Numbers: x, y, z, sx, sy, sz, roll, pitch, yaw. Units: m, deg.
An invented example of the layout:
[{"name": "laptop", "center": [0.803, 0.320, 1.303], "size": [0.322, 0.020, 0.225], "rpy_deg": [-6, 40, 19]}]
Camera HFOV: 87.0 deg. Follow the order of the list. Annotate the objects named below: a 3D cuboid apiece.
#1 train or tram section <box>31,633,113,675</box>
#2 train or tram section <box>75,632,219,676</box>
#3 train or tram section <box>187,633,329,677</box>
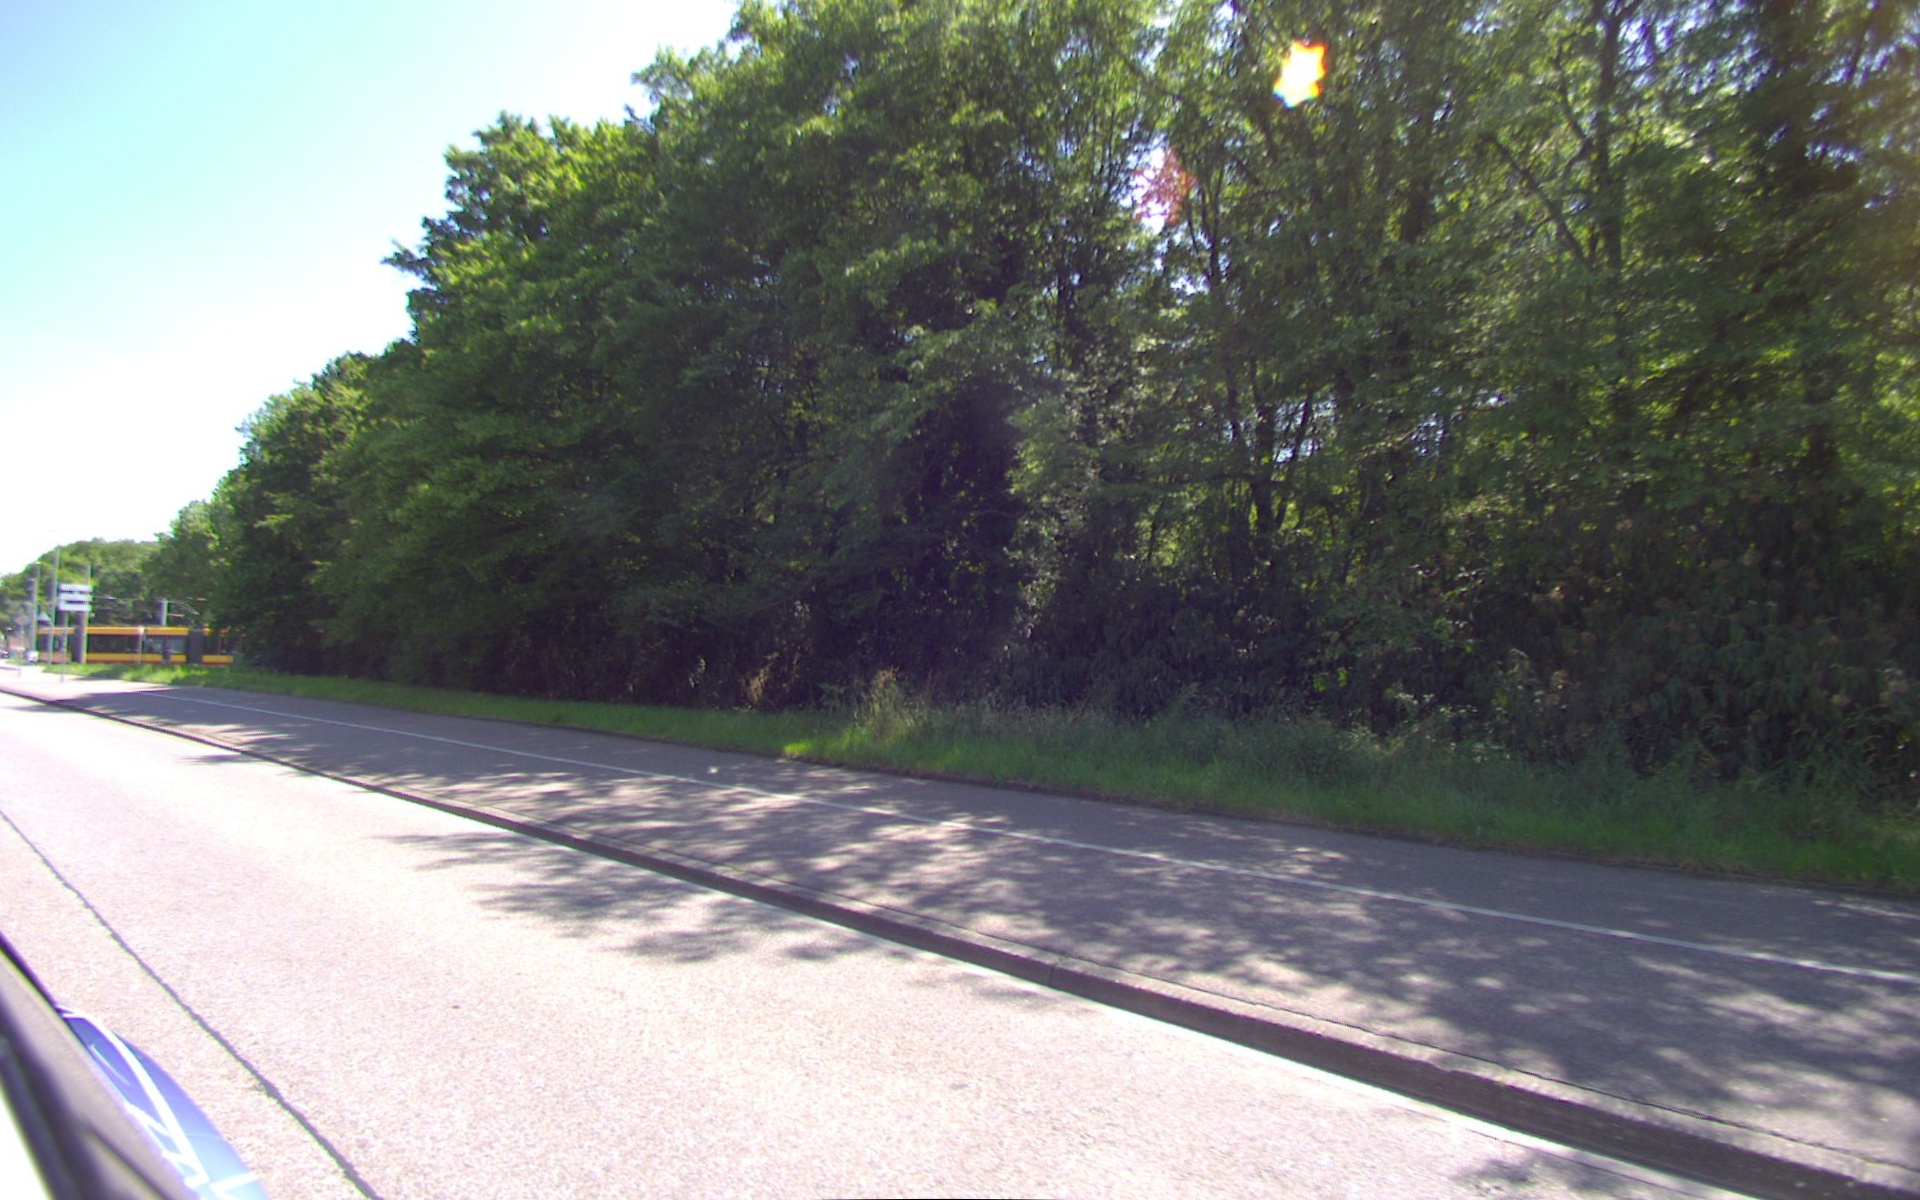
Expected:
[{"name": "train or tram section", "center": [-76.527, 4.670, 87.133], "size": [10.824, 3.493, 2.549], "rpy_deg": [-2, -4, 34]}, {"name": "train or tram section", "center": [-66.945, 4.461, 83.362], "size": [10.731, 3.493, 2.643], "rpy_deg": [-1, -3, 9]}, {"name": "train or tram section", "center": [-57.956, 4.560, 83.820], "size": [9.192, 3.493, 2.791], "rpy_deg": [1, -3, -17]}]
